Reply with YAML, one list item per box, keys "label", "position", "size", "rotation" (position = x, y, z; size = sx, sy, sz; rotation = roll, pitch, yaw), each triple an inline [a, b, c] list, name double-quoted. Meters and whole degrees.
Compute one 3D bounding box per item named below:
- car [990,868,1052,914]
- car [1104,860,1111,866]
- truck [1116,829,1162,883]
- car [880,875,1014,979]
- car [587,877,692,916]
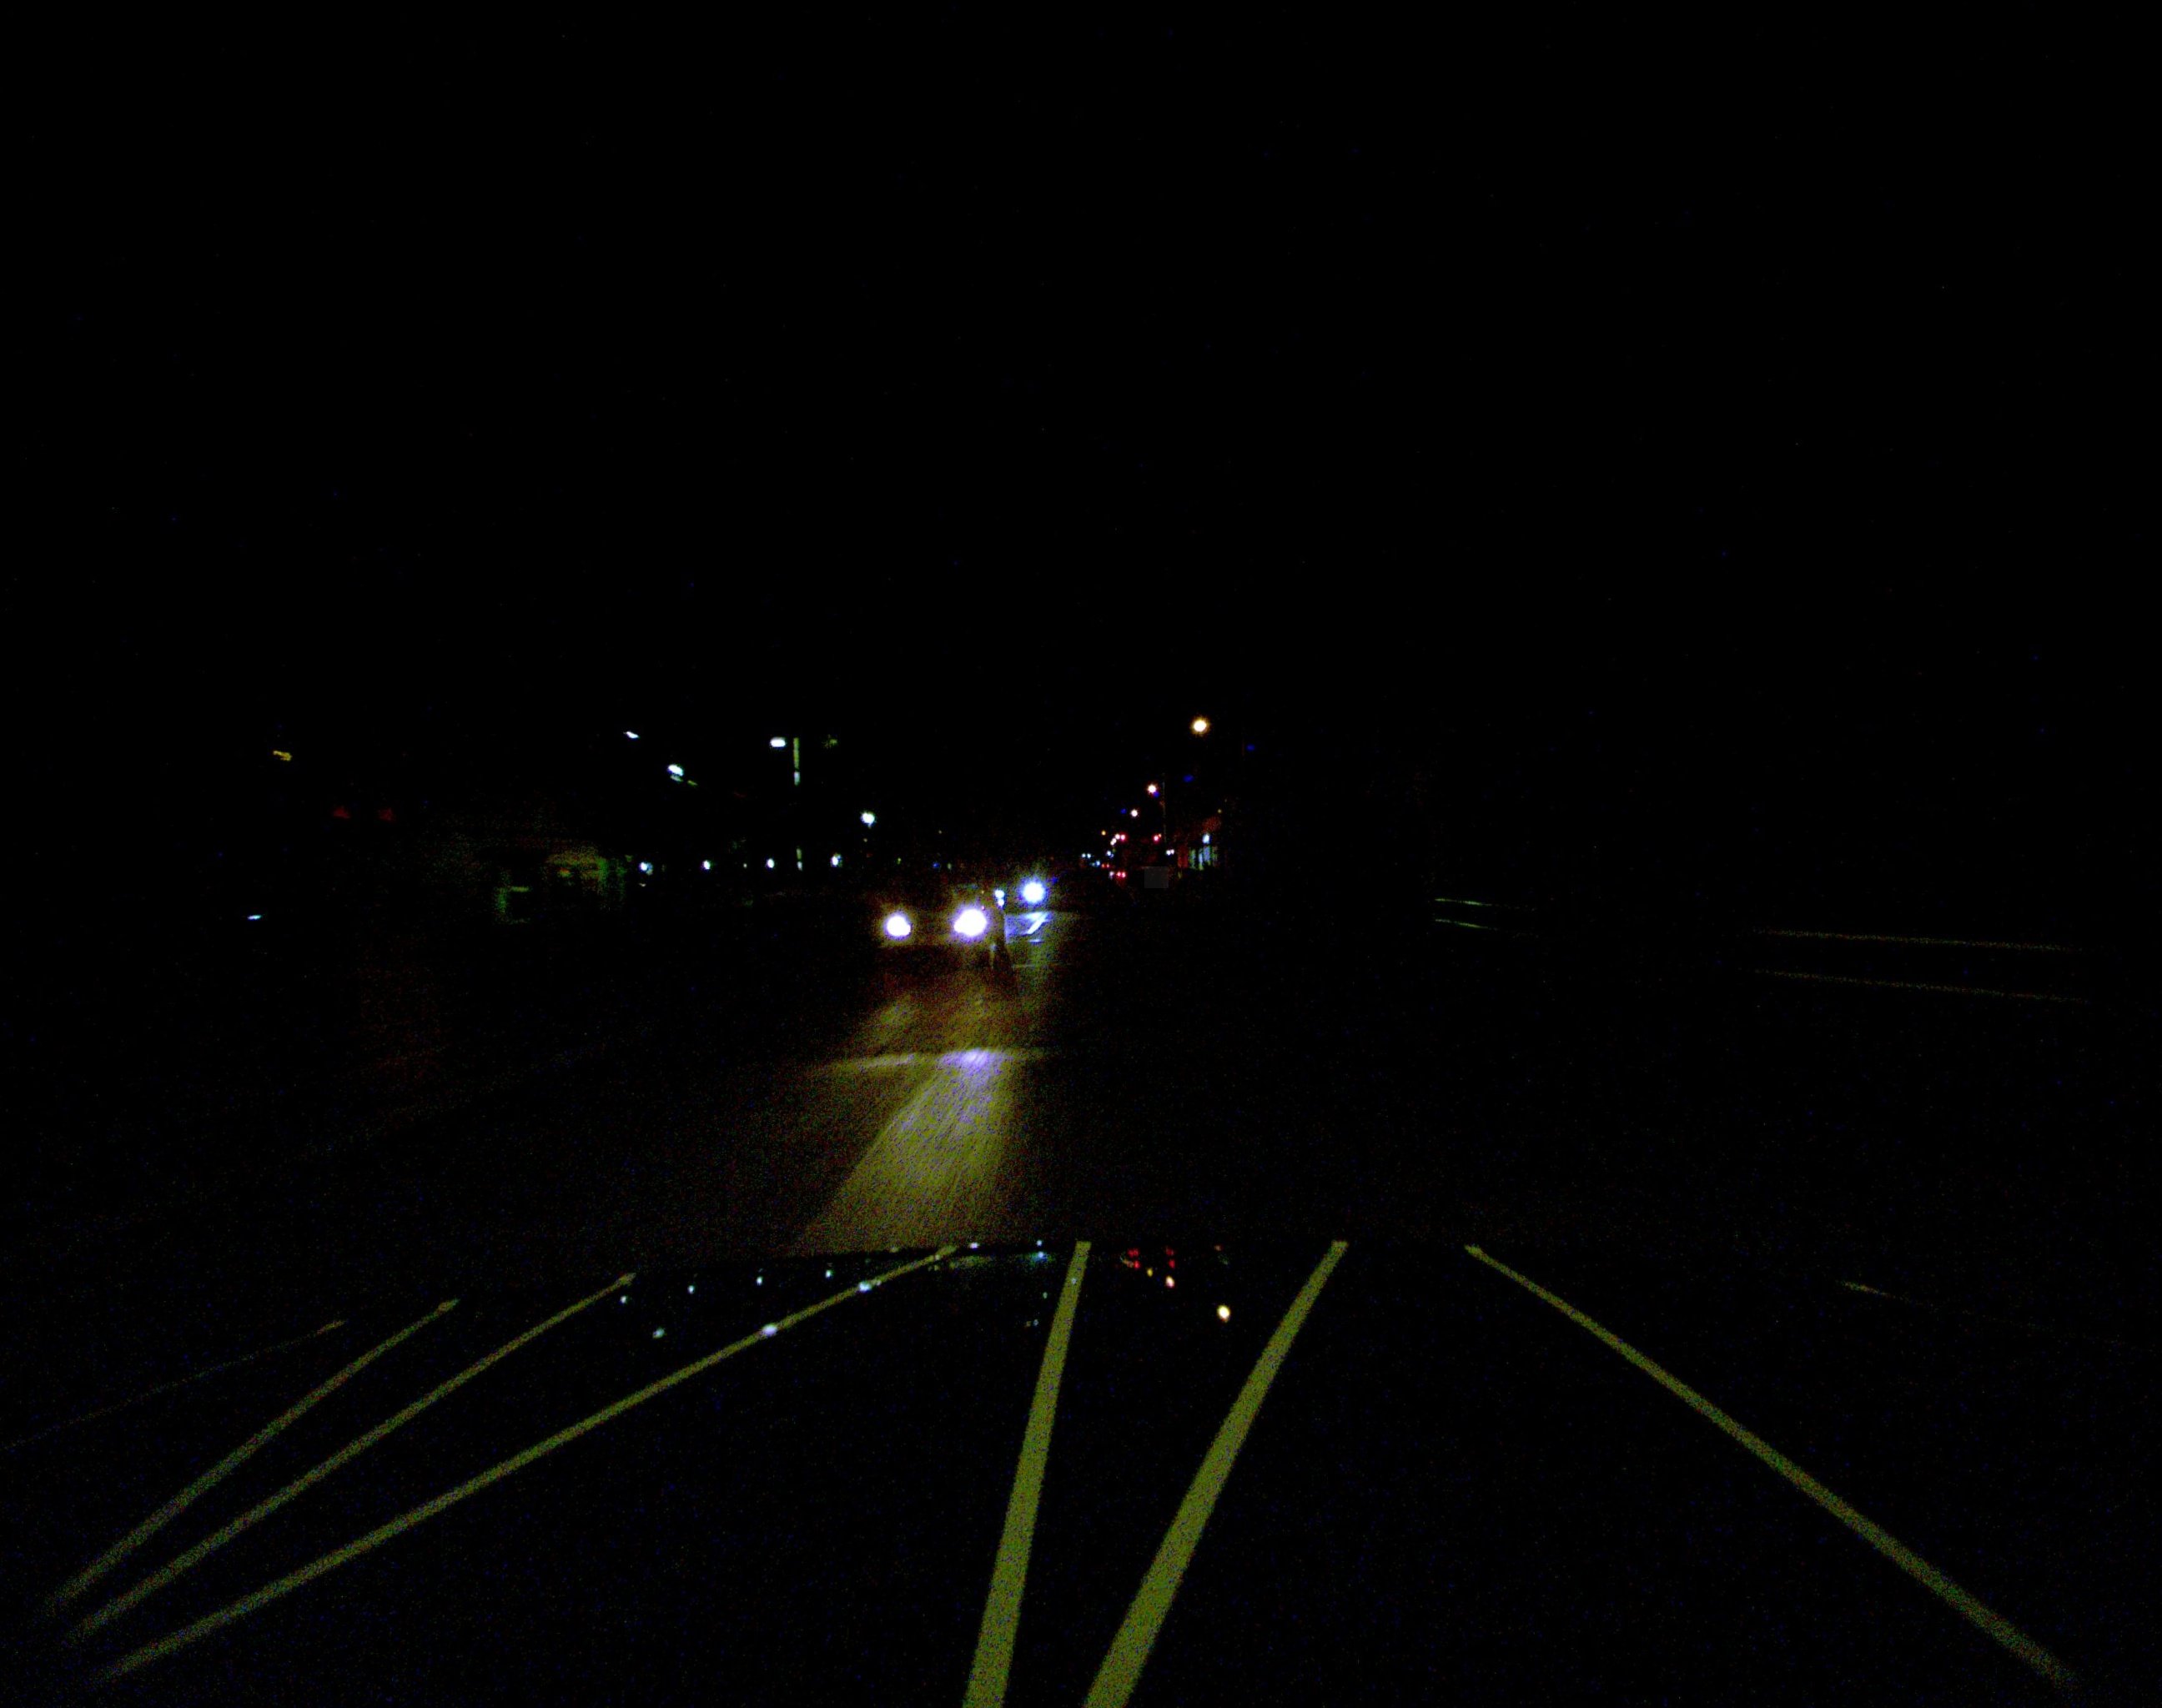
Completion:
- label: "car"
  position: [-2.247, 1.378, 29.848]
  size: [1.809, 1.485, 4.730]
  rotation: [-3, 0, 2]
- label: "car"
  position: [7.070, 2.344, 203.331]
  size: [1.671, 1.420, 4.000]
  rotation: [0, 0, 0]
- label: "truck"
  position: [4.316, 0.180, 58.520]
  size: [2.762, 3.696, 10.114]
  rotation: [1, 0, 1]
- label: "car"
  position: [-2.323, 1.226, 14.149]
  size: [1.641, 1.485, 4.000]
  rotation: [-3, 0, 1]
- label: "car"
  position: [-18.005, 1.700, 31.273]
  size: [1.516, 1.387, 4.483]
  rotation: [-1, -1, 3]
